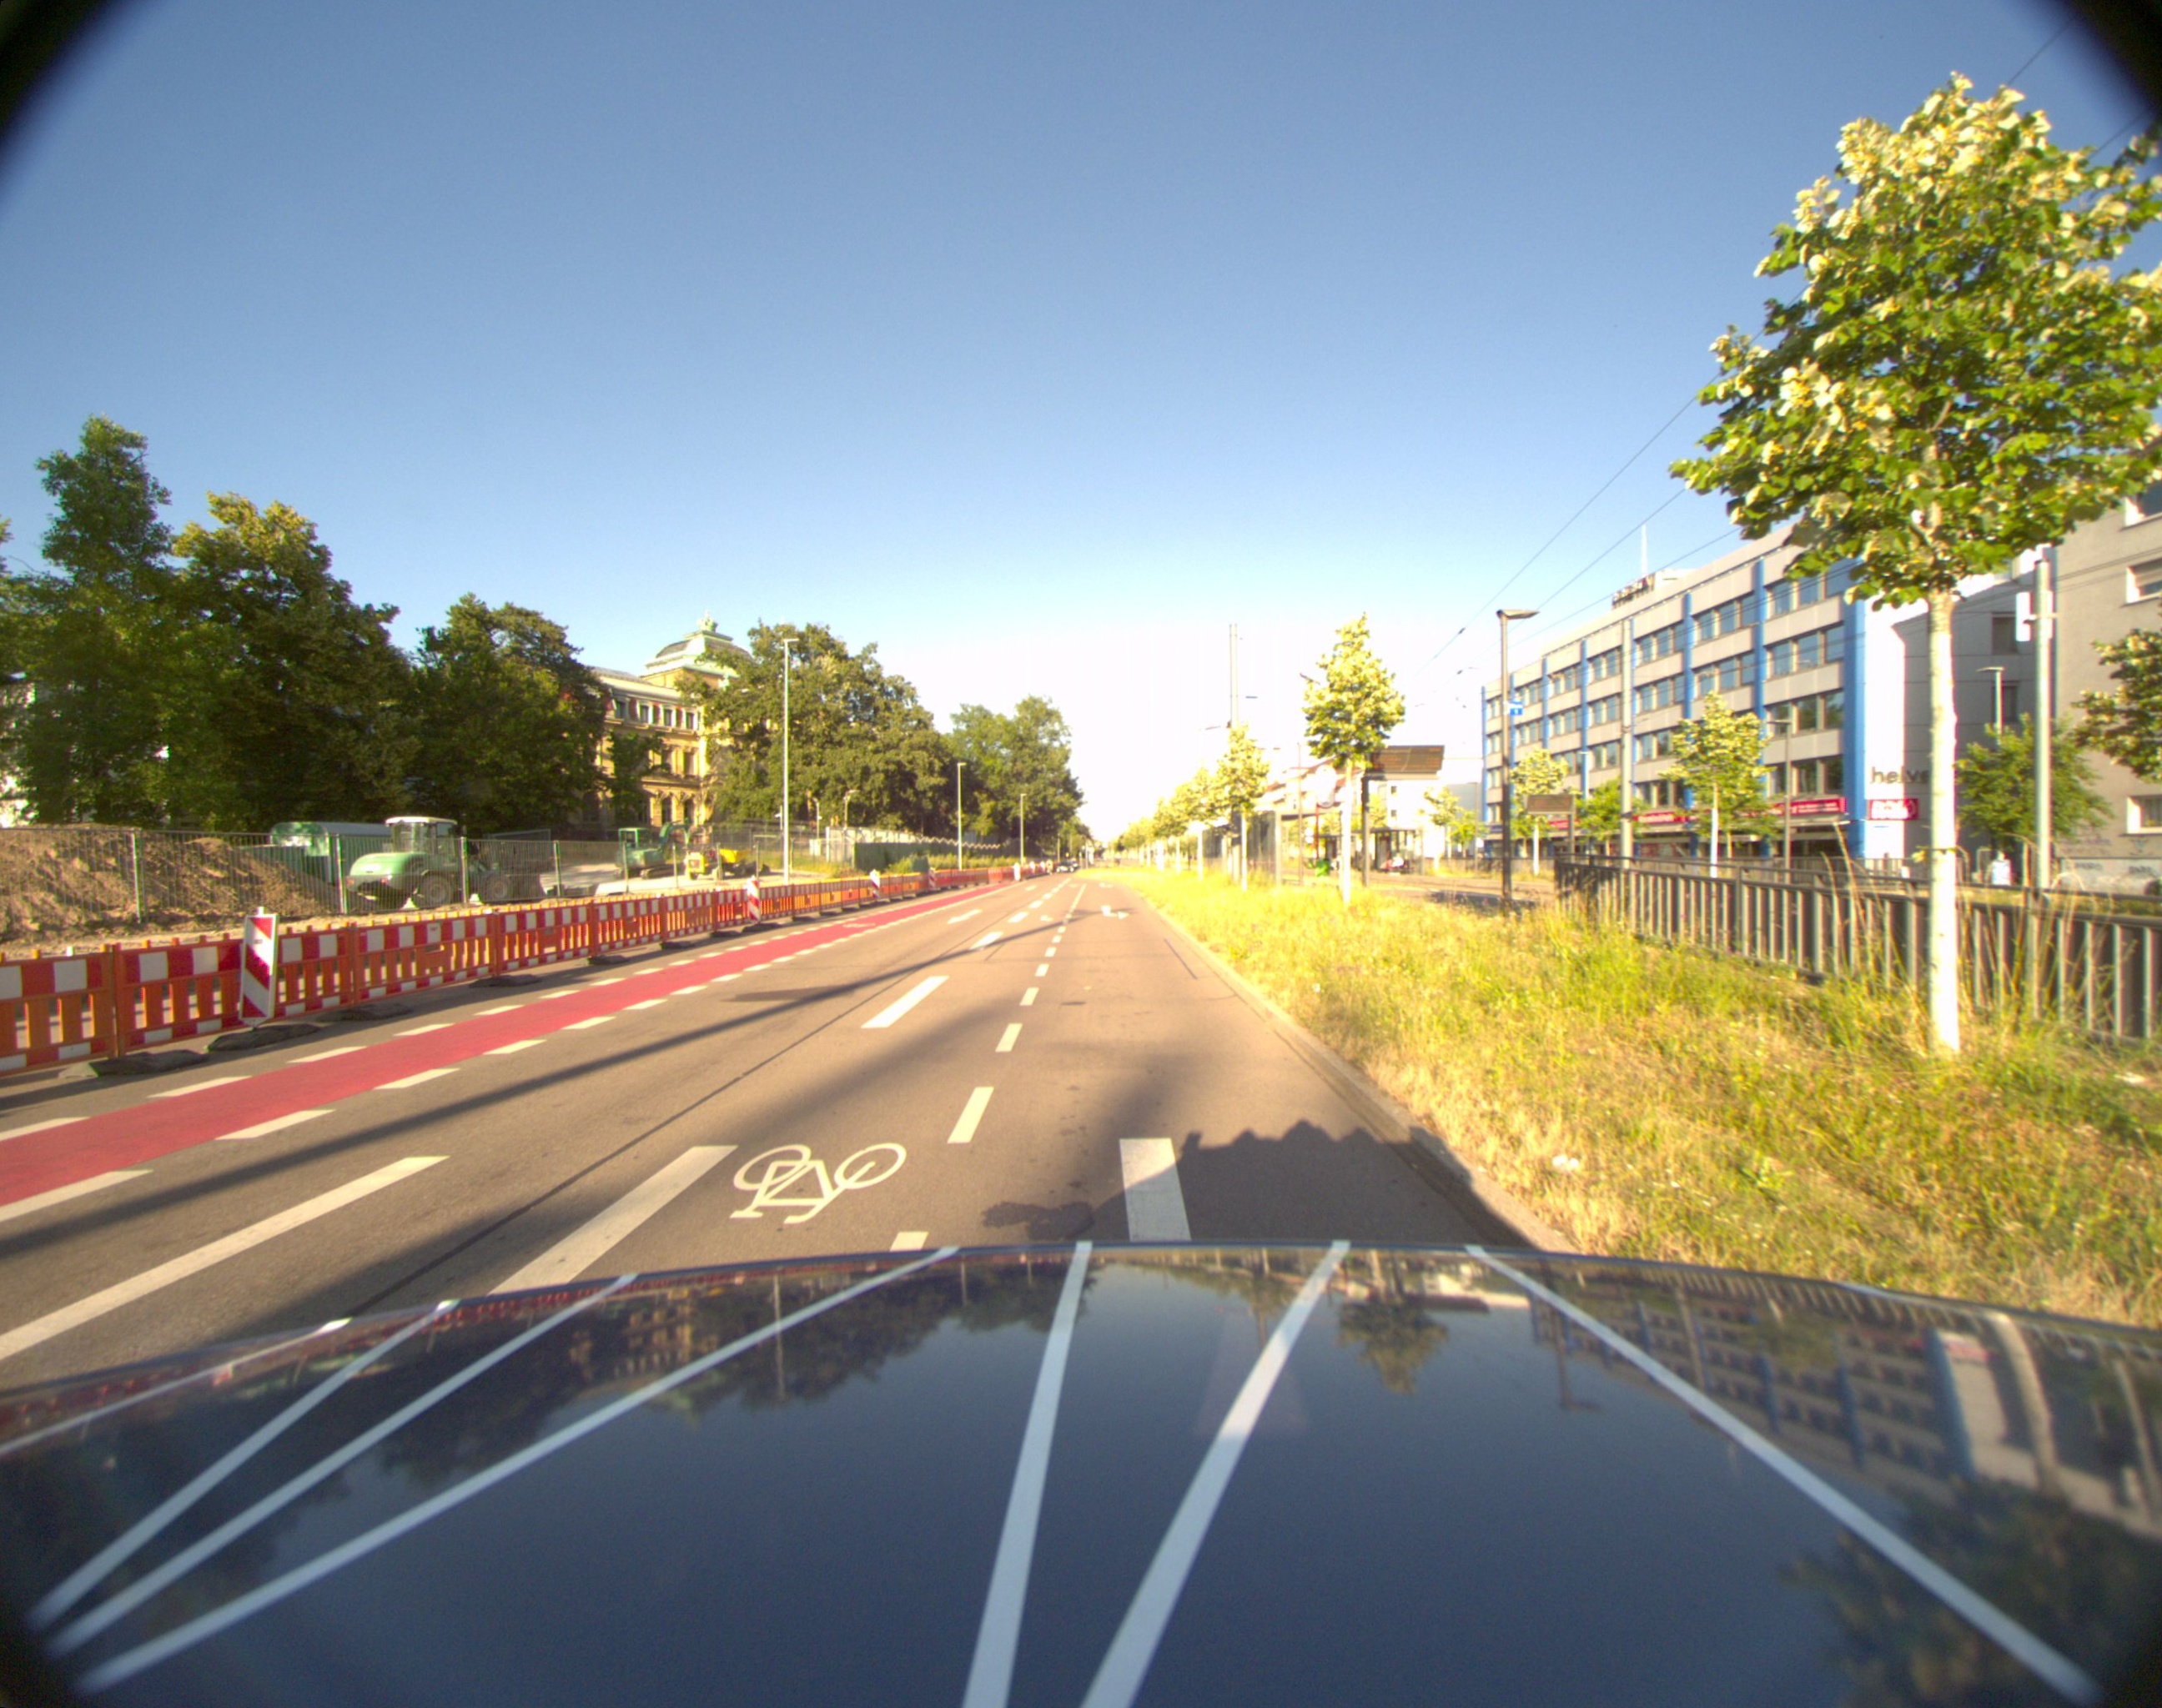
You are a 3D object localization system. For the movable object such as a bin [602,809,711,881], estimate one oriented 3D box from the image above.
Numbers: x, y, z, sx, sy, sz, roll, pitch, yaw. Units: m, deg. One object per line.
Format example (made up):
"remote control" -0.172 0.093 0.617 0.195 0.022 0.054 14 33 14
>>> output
"movable object such as a bin" -22.511 -0.450 40.618 2.280 3.537 5.501 -1 0 6

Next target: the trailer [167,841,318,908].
"trailer" -31.675 0.729 28.821 2.954 2.311 2.221 0 5 -2

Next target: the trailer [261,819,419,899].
"trailer" -31.542 0.104 32.577 2.616 3.075 3.981 0 5 -2

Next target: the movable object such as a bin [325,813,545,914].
"movable object such as a bin" -19.042 0.257 22.822 2.281 2.688 4.942 -1 0 1

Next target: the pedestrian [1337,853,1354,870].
"pedestrian" 18.713 0.511 53.712 0.936 1.190 0.764 0 1 1

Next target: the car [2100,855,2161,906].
"car" 33.218 0.789 21.812 1.998 1.499 4.431 0 0 1

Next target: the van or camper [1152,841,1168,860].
"van or camper" 13.713 -0.564 132.847 2.510 3.149 7.477 -1 0 4

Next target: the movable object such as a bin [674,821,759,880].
"movable object such as a bin" -18.756 -0.186 39.302 1.997 2.887 4.002 -1 0 8

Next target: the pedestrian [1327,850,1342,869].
"pedestrian" 18.804 0.432 56.283 0.840 1.402 0.804 0 1 1

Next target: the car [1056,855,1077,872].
"car" -1.620 1.028 86.410 2.080 1.827 4.000 -1 0 2
